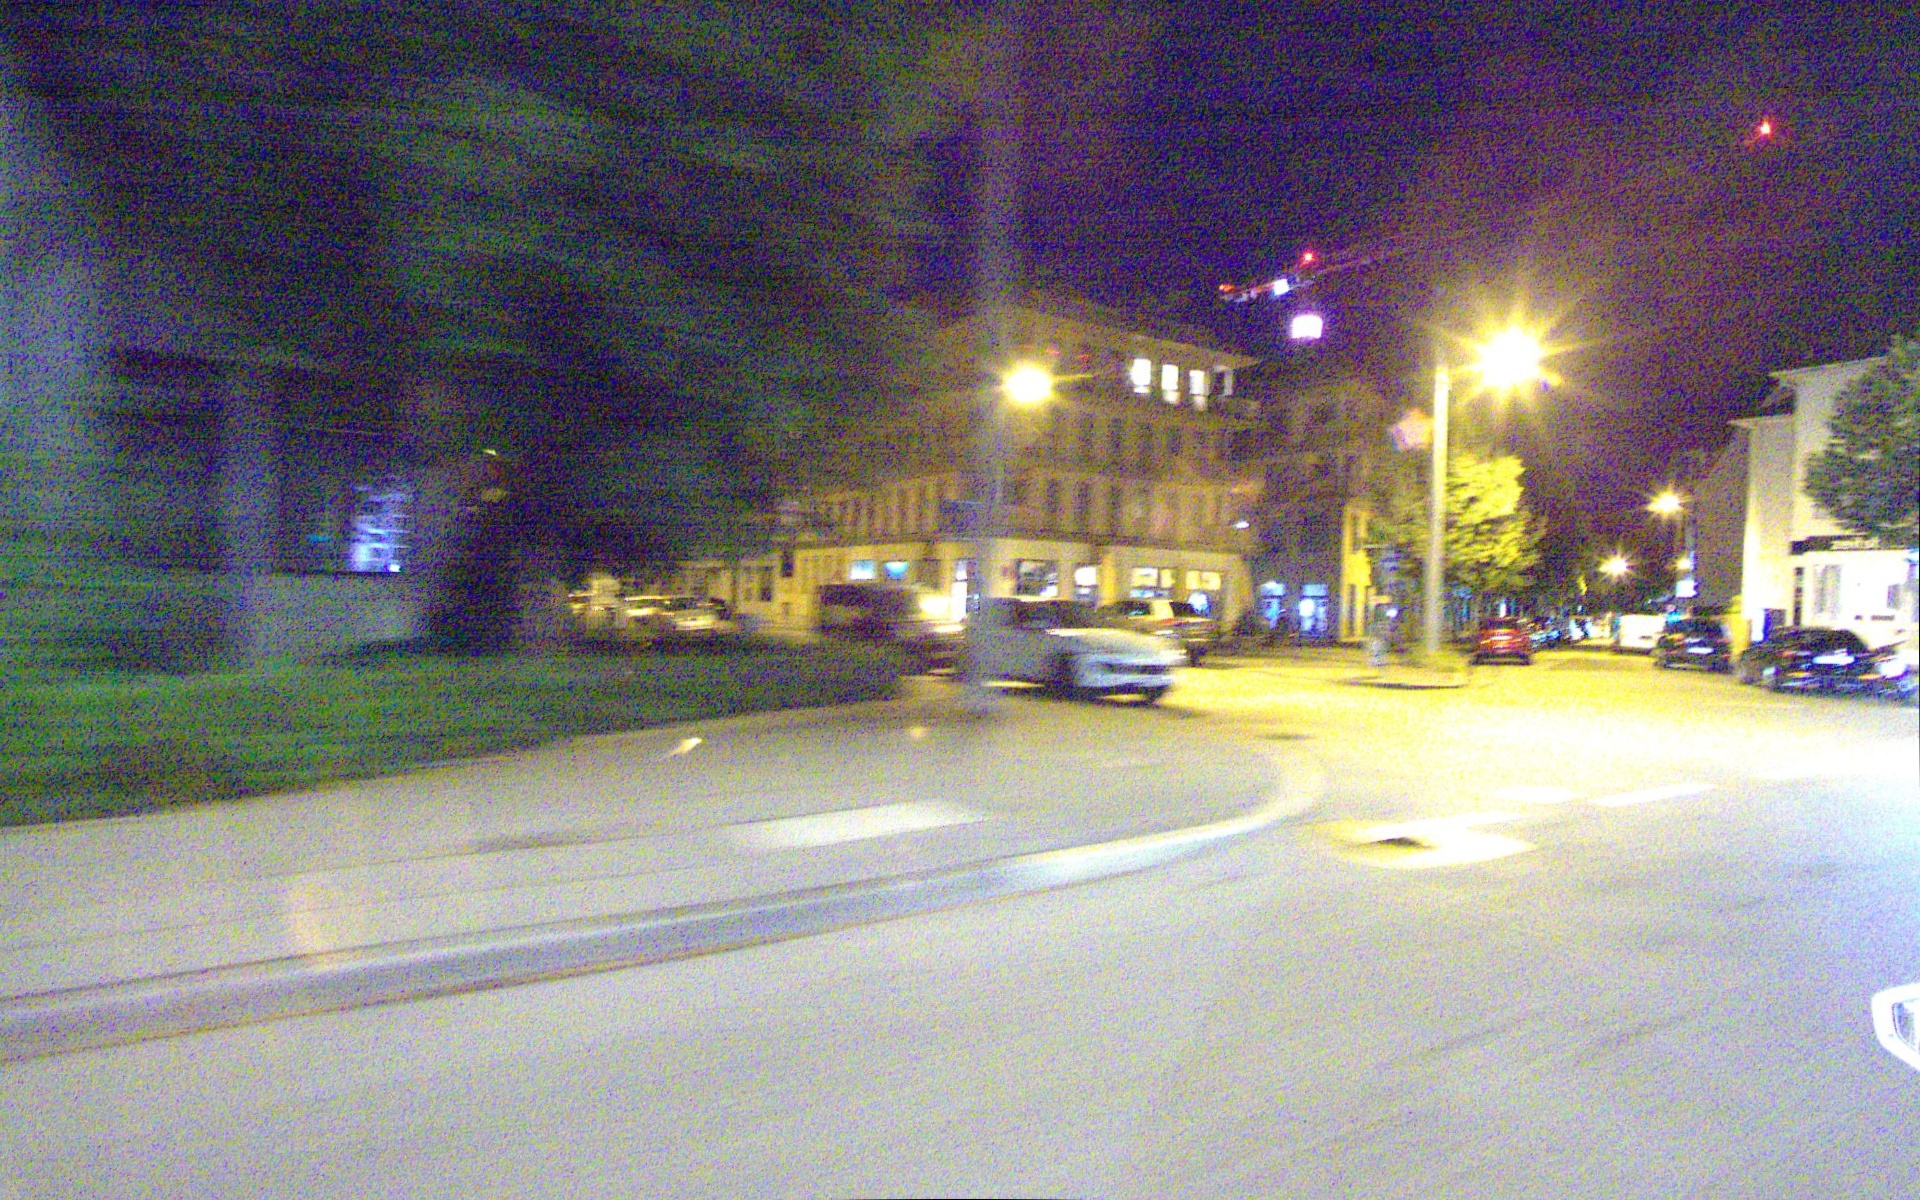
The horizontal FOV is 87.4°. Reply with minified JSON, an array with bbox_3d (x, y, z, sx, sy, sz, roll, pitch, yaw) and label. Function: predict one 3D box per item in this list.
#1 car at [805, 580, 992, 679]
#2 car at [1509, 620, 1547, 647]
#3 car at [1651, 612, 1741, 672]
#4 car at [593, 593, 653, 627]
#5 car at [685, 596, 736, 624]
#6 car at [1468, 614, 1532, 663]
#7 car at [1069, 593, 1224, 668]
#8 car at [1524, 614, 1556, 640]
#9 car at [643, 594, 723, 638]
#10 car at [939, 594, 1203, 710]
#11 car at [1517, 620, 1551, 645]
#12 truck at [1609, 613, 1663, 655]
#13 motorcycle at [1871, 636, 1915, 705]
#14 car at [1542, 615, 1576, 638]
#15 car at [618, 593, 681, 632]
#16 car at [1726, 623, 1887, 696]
[{"bbox_3d":[-1.492,0.552,21.988,2.005,1.915,4.961,0,0,-31],"label":"car"},{"bbox_3d":[33.609,1.964,59.403,1.742,1.479,3.989,1,0,33],"label":"car"},{"bbox_3d":[23.626,1.308,32.380,1.886,1.666,4.102,4,1,31],"label":"car"},{"bbox_3d":[-15.854,0.455,47.110,1.842,1.489,3.966,2,-1,-31],"label":"car"},{"bbox_3d":[-16.138,0.639,64.806,1.912,1.737,4.380,2,-1,-33],"label":"car"},{"bbox_3d":[19.398,1.356,36.002,1.810,1.634,4.251,-1,-2,31],"label":"car"},{"bbox_3d":[5.099,0.801,28.070,1.933,1.777,4.321,3,0,-28],"label":"car"},{"bbox_3d":[42.151,1.921,72.960,1.770,1.833,3.989,1,0,33],"label":"car"},{"bbox_3d":[-10.308,0.566,37.261,1.881,1.525,3.966,0,0,-31],"label":"car"},{"bbox_3d":[1.670,0.774,16.853,1.981,1.650,4.635,2,-1,-32],"label":"car"},{"bbox_3d":[36.530,2.026,63.892,1.692,1.516,3.574,1,-1,33],"label":"car"},{"bbox_3d":[31.342,1.579,46.626,1.863,1.831,4.105,1,-1,31],"label":"truck"},{"bbox_3d":[17.588,1.299,18.959,0.565,1.195,2.021,1,0,42],"label":"motorcycle"},{"bbox_3d":[46.634,2.069,78.163,1.873,1.758,3.986,1,-1,36],"label":"car"},{"bbox_3d":[-13.058,0.492,42.070,1.806,1.525,3.970,0,0,-28],"label":"car"},{"bbox_3d":[19.055,1.267,22.860,1.858,1.443,4.722,0,-1,28],"label":"car"}]
